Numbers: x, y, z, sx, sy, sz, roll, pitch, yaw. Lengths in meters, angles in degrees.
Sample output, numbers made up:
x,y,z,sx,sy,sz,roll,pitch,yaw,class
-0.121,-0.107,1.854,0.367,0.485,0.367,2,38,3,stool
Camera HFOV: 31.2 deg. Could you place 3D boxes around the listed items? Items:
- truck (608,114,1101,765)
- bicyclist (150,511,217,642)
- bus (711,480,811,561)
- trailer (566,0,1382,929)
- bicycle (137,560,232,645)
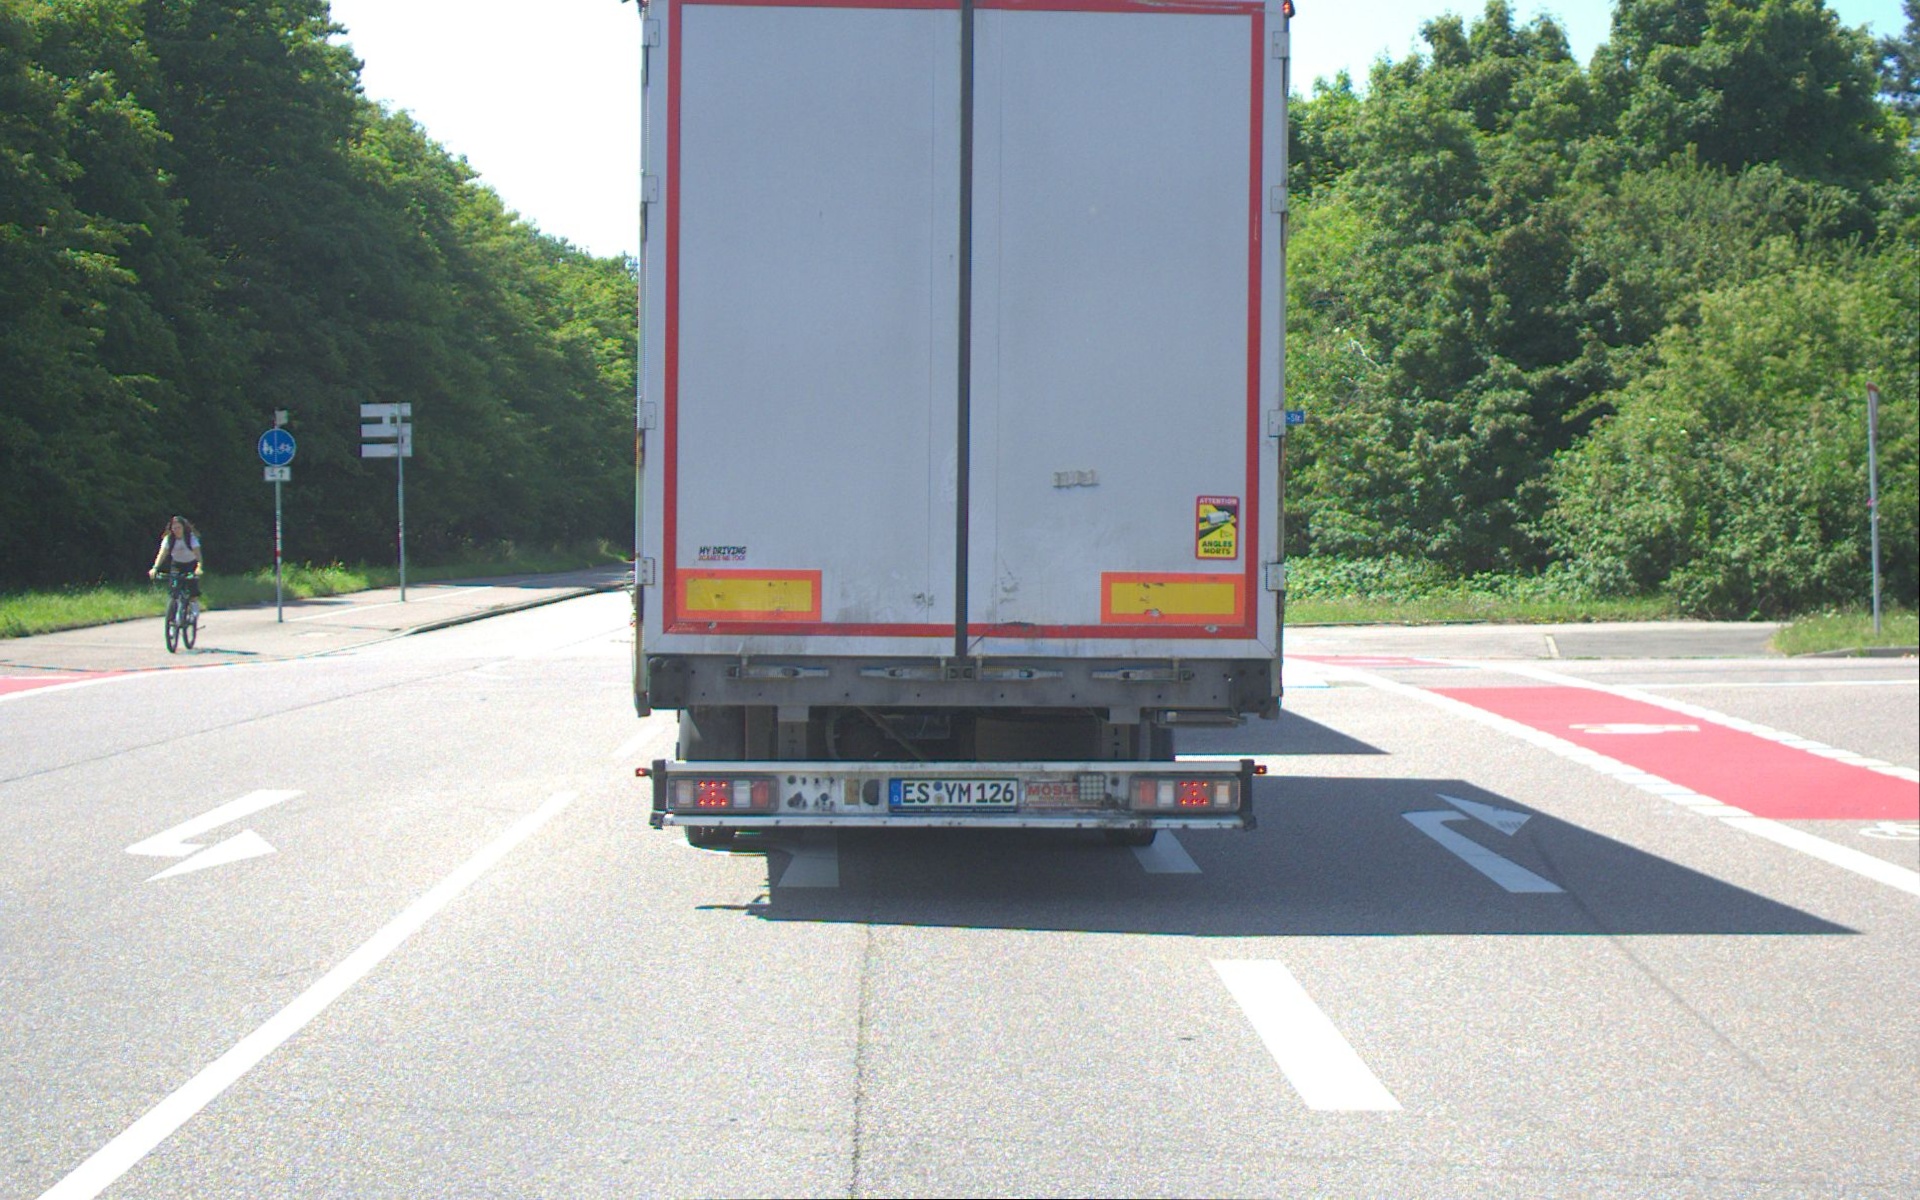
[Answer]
x,y,z,sx,sy,sz,roll,pitch,yaw,class
-1.002,-1.093,25.530,3.076,4.055,7.961,0,1,-5,truck
-10.263,-0.315,45.437,0.665,1.700,0.769,1,2,4,bicyclist
-7.896,-3.255,138.082,2.749,3.034,11.938,-1,2,3,bus
-0.347,-0.915,17.866,3.077,4.055,9.811,0,1,-5,trailer
-10.264,0.024,45.562,0.669,1.051,2.045,1,2,4,bicycle
